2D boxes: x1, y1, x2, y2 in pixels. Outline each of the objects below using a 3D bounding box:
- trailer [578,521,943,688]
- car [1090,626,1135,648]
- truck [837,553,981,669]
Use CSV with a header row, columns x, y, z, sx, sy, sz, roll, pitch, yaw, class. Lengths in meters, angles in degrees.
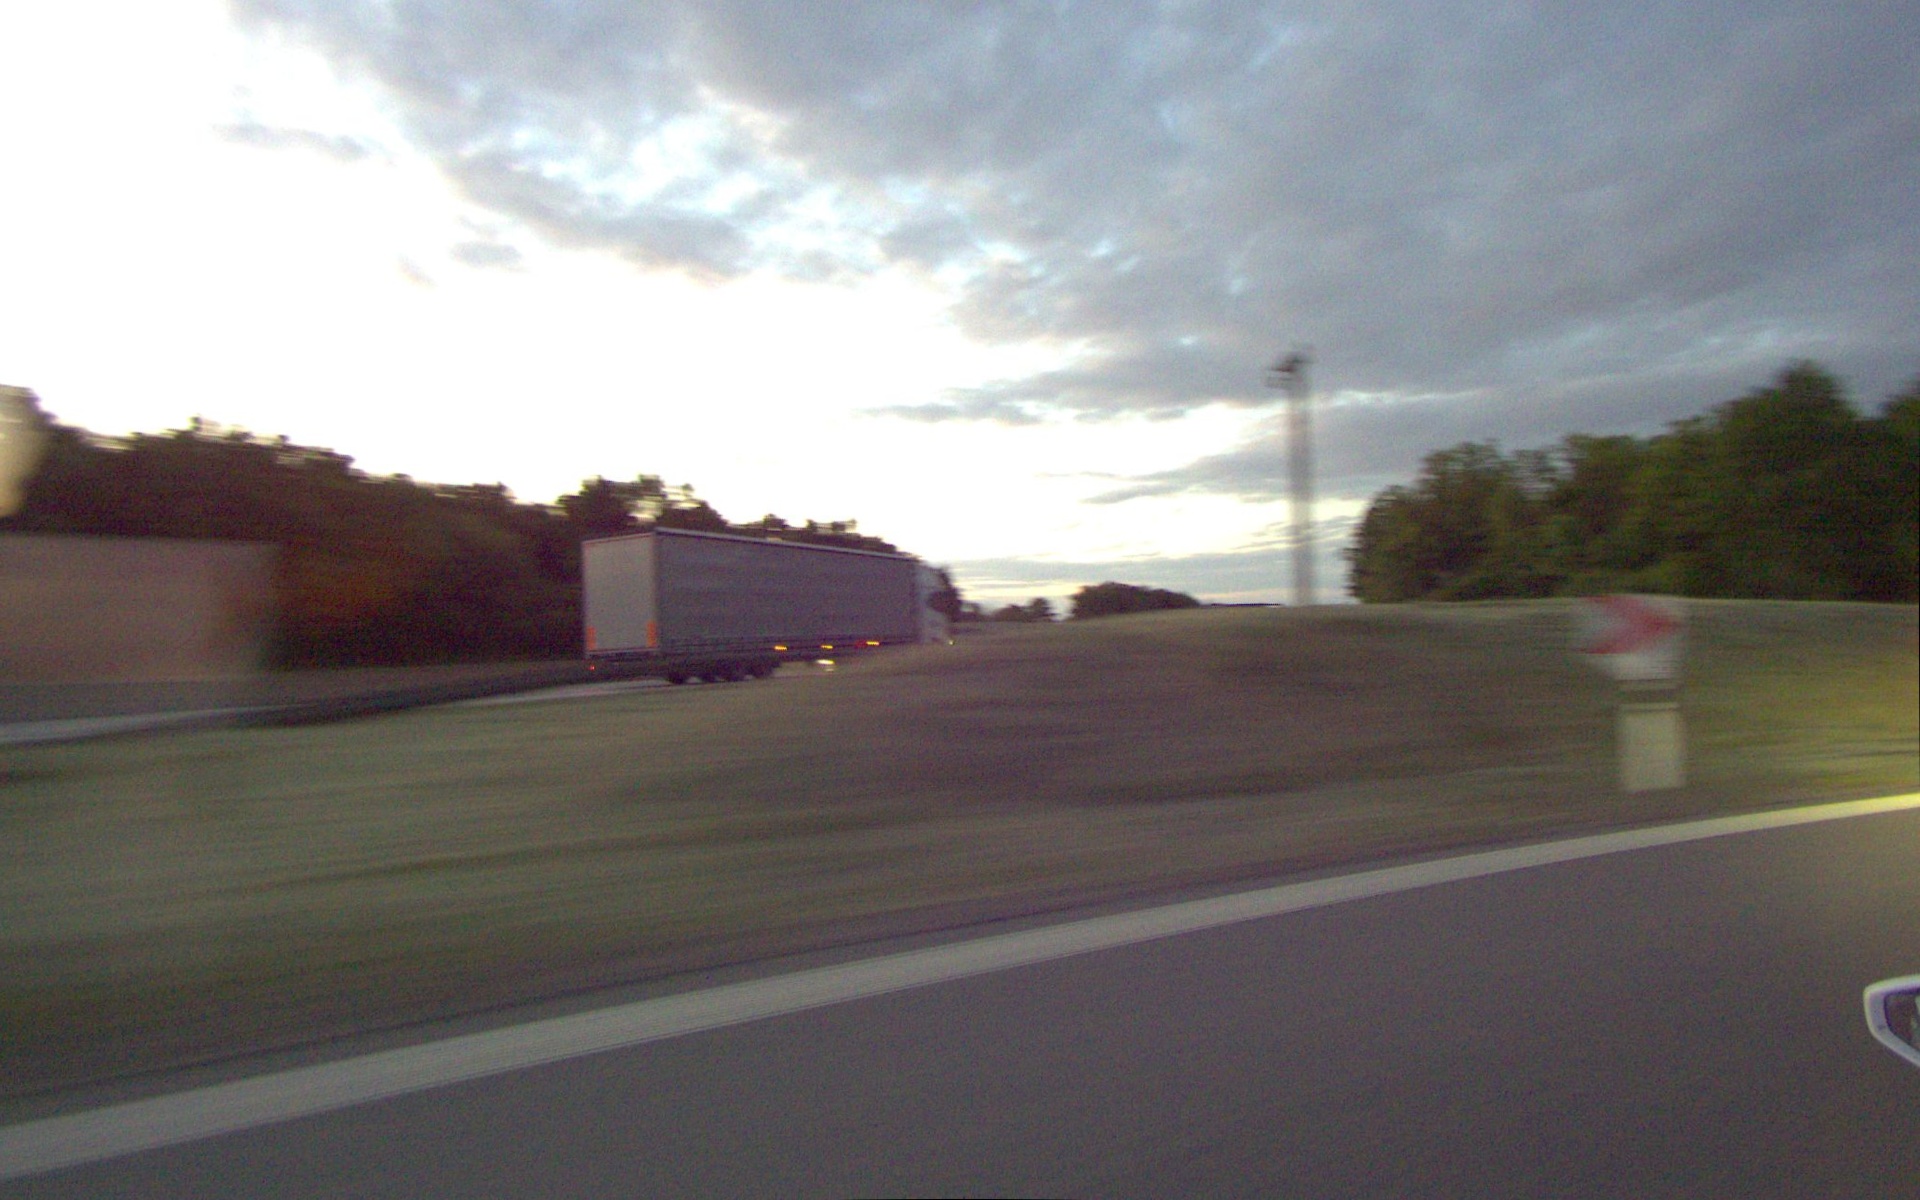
x,y,z,sx,sy,sz,roll,pitch,yaw,class
-5.226,0.316,31.707,2.732,3.965,14.804,-5,-3,26,trailer
11.829,2.850,77.555,1.964,1.517,4.542,-5,-3,28,car
-1.816,0.497,38.714,2.737,3.952,6.148,-5,-3,26,truck
